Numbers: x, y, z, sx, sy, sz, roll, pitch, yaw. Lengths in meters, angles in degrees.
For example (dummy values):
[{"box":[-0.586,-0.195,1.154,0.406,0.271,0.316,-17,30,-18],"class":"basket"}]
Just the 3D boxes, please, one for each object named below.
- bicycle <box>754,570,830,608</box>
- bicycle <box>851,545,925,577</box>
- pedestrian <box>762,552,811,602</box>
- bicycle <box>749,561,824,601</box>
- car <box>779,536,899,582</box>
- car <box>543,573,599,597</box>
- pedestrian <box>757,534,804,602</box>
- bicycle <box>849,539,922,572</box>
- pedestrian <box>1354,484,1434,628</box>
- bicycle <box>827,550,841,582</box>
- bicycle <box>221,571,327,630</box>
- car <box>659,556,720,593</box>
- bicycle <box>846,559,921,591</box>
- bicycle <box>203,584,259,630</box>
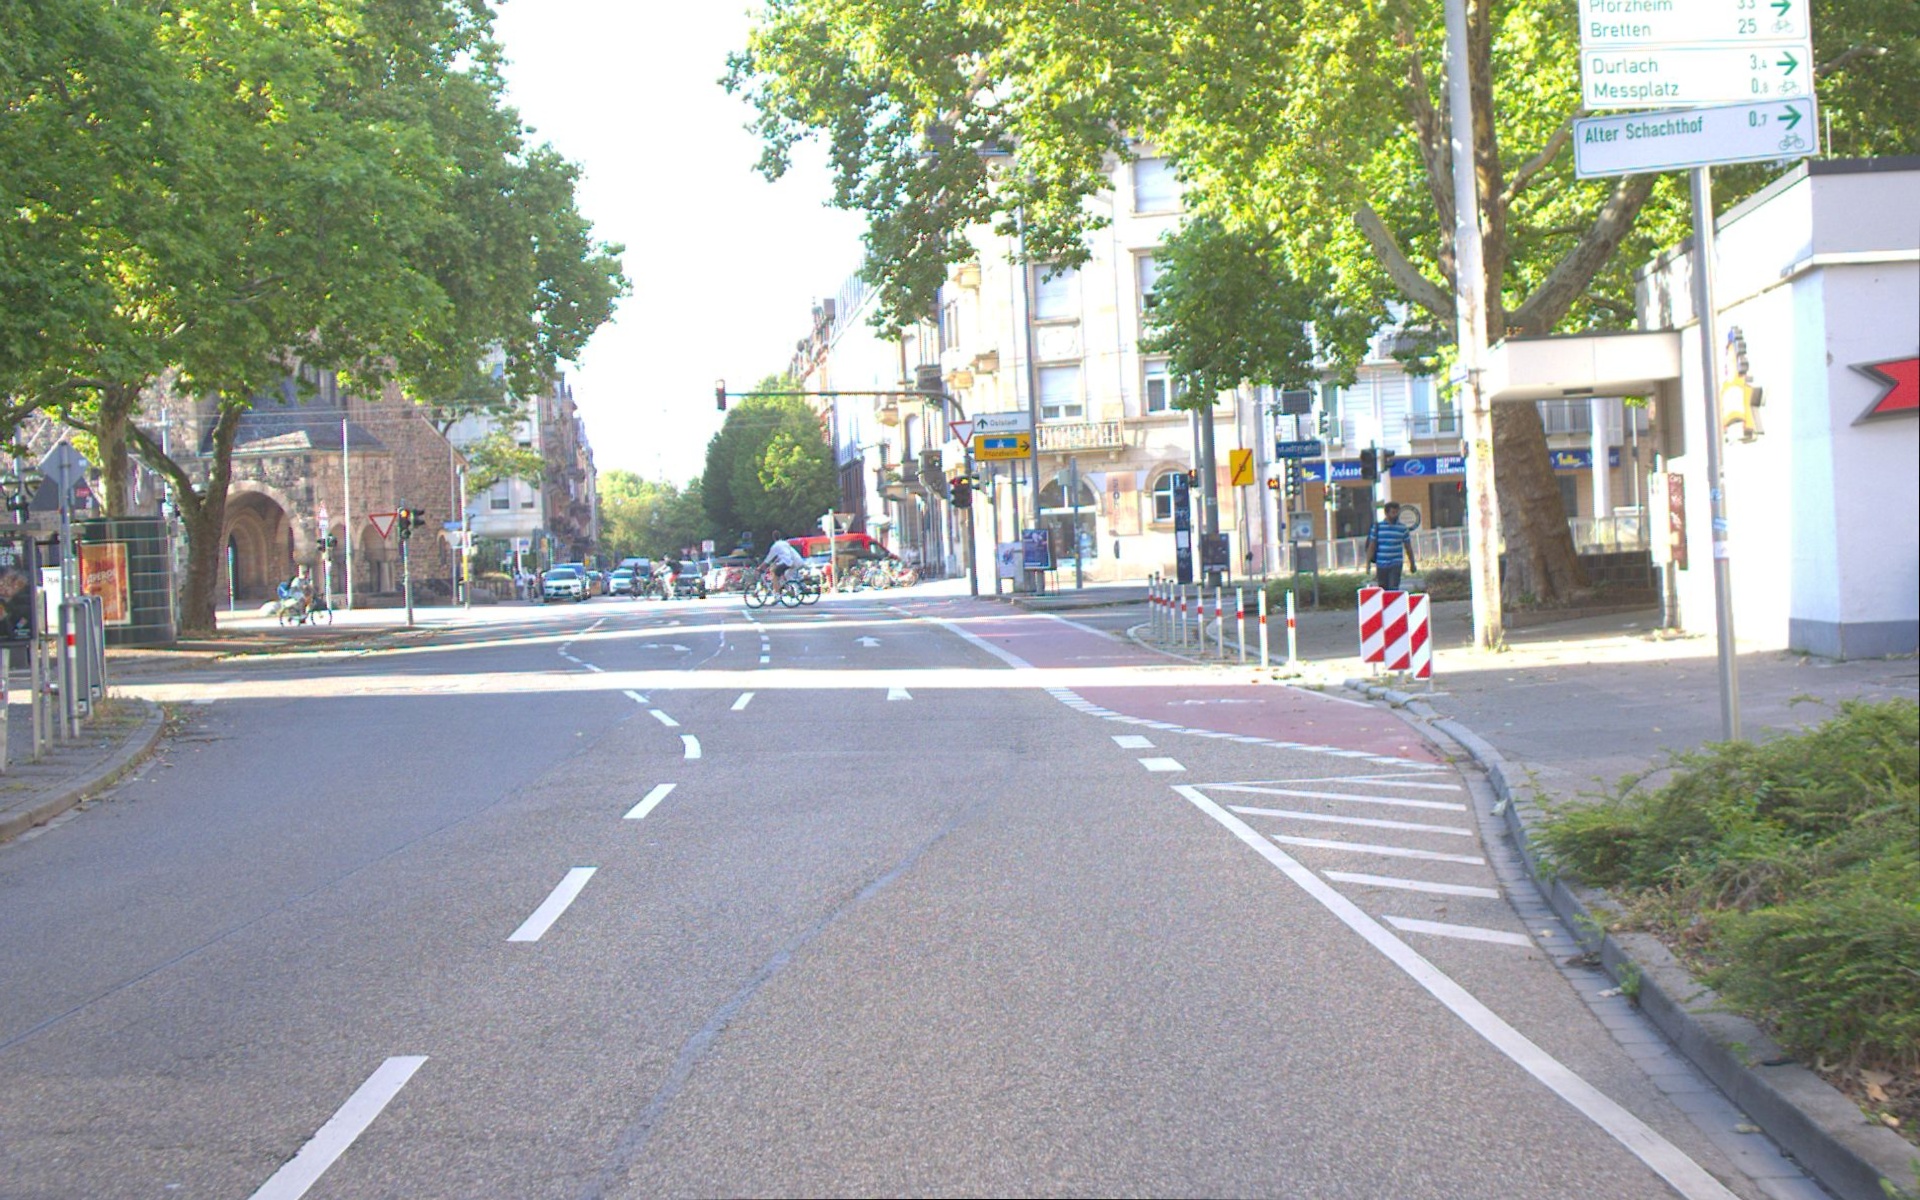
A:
[{"box":[-4.338,-0.282,89.014,1.783,0.892,0.750,-2,1,18],"class":"bicycle"},{"box":[-2.785,-1.503,133.327,2.802,1.199,0.517,0,0,-7],"class":"bicycle"},{"box":[-4.501,-0.587,89.043,1.049,1.273,0.791,-1,0,18],"class":"pedestrian"},{"box":[-4.376,-0.481,86.759,1.786,0.978,0.656,-1,0,25],"class":"bicycle"},{"box":[-5.342,-1.806,152.220,4.988,2.007,2.166,0,0,-40],"class":"car"},{"box":[-18.853,-0.716,166.689,1.595,1.140,3.381,-1,0,14],"class":"car"},{"box":[-4.530,-0.809,86.826,0.992,1.702,0.627,-1,0,25],"class":"pedestrian"},{"box":[-2.903,-1.747,134.243,2.802,1.198,0.510,0,12,-7],"class":"bicycle"},{"box":[6.351,-0.635,50.355,0.827,2.007,1.153,-6,0,-1],"class":"pedestrian"},{"box":[-4.925,-1.331,134.282,0.508,1.199,2.092,0,0,-2],"class":"bicycle"},{"box":[-19.608,0.017,98.234,2.842,1.650,0.830,-1,0,8],"class":"bicycle"},{"box":[-11.069,-1.034,140.890,1.587,1.457,3.181,-1,0,13],"class":"car"},{"box":[-2.931,-0.960,131.850,2.802,1.199,0.510,0,0,-7],"class":"bicycle"},{"box":[-28.283,0.268,133.380,1.286,1.744,4.000,-1,0,0],"class":"bicycle"}]
